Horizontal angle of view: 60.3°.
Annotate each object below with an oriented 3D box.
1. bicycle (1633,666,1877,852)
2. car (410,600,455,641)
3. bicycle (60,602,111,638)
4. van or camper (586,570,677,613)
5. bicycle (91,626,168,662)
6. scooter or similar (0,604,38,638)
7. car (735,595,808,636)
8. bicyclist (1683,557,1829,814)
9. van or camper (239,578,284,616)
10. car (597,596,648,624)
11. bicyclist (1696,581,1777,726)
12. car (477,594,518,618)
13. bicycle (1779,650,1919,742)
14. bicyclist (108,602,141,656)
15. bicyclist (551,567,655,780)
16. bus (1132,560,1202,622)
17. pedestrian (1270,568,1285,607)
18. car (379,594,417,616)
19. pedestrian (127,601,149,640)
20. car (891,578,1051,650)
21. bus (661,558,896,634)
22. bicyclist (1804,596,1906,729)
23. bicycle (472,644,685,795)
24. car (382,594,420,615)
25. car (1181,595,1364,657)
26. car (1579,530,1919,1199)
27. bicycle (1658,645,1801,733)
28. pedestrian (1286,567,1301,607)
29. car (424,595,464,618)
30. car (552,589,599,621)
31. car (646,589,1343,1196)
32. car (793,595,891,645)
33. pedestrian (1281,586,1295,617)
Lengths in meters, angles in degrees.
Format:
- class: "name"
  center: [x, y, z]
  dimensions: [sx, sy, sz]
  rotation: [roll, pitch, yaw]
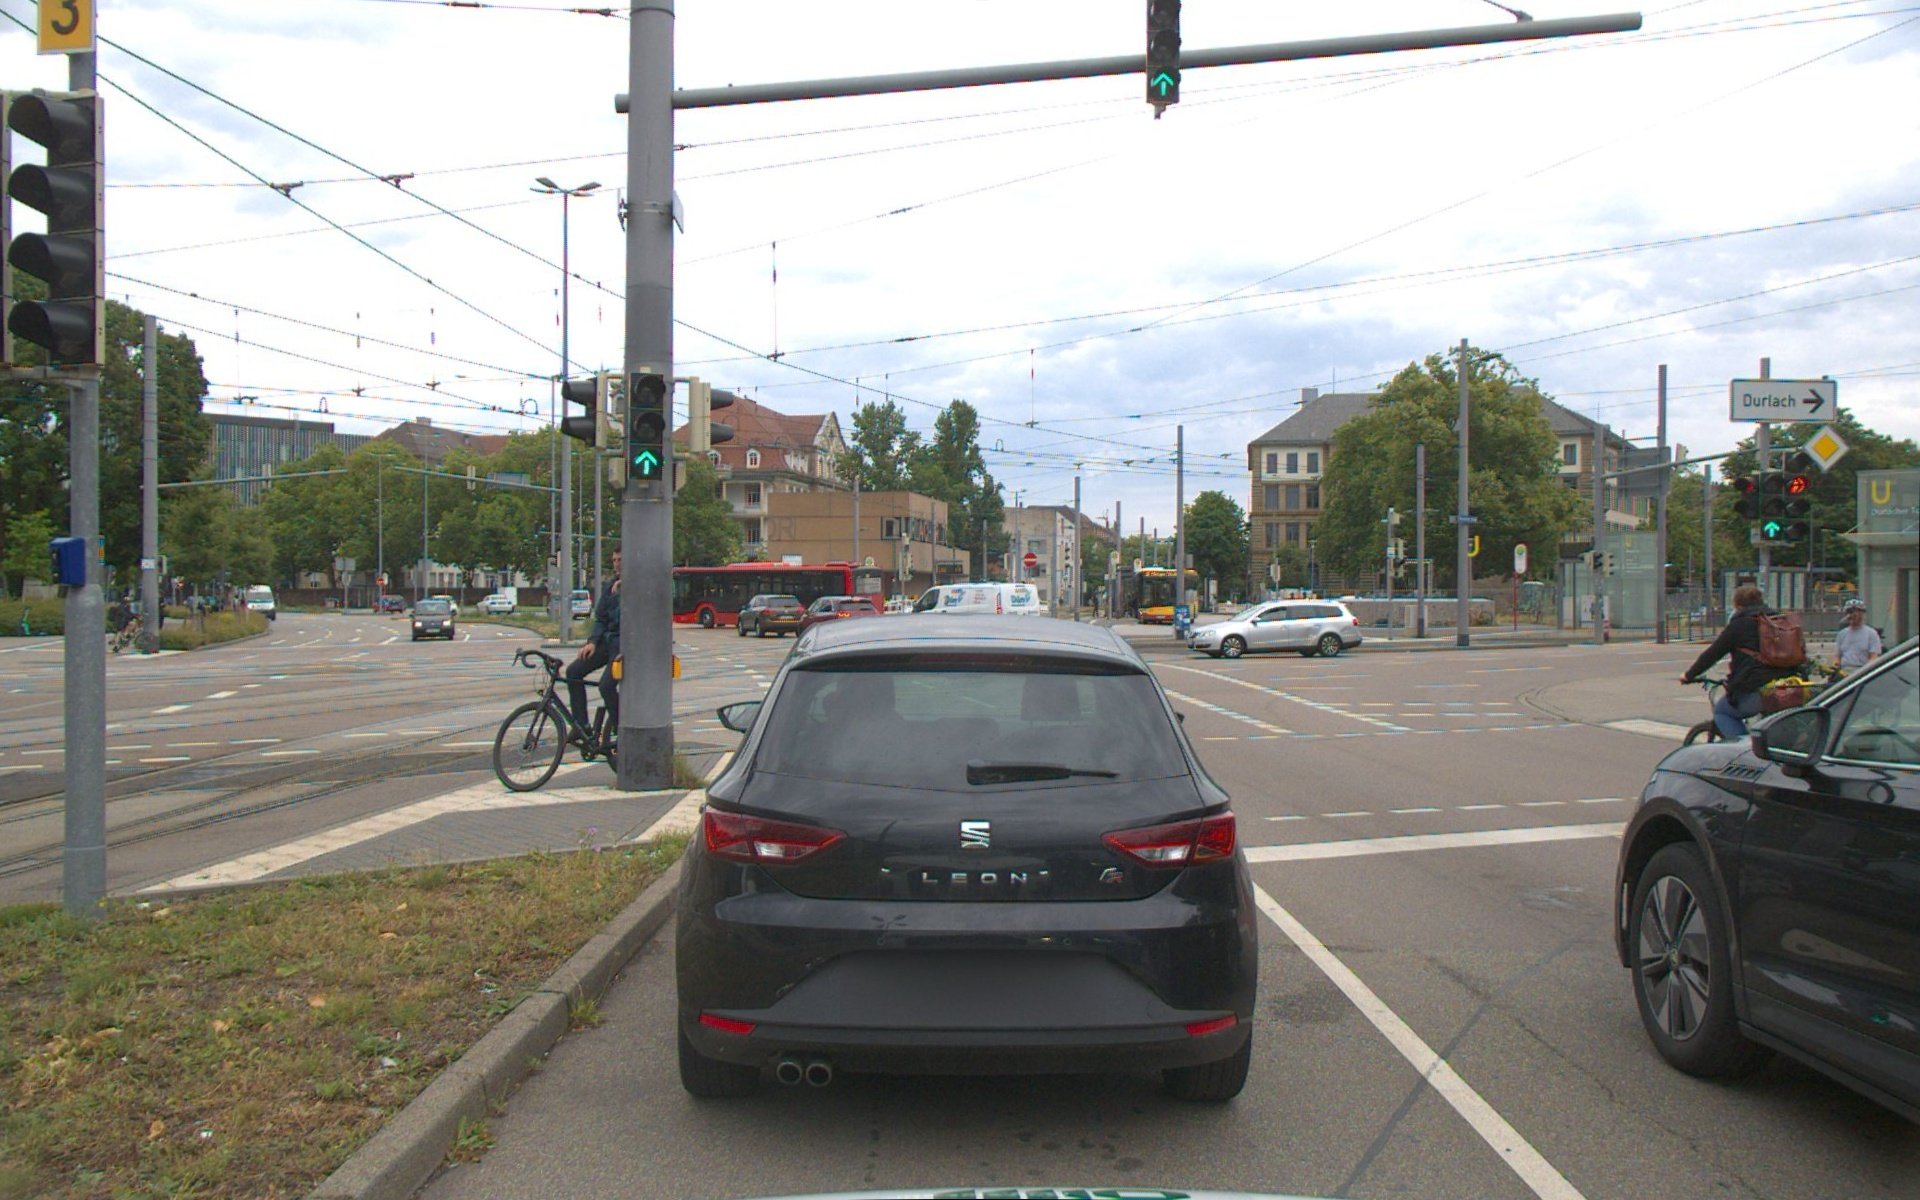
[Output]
- class: "bicycle"
  center: [5.511, 1.058, 11.630]
  dimensions: [0.612, 1.073, 2.125]
  rotation: [0, 1, -3]
- class: "car"
  center: [-20.915, 0.777, 65.538]
  dimensions: [1.594, 1.542, 3.644]
  rotation: [-1, 1, -19]
- class: "bicycle"
  center: [-36.999, 0.848, 69.974]
  dimensions: [0.829, 1.474, 2.255]
  rotation: [0, 0, 4]
- class: "van or camper"
  center: [-27.350, -0.724, 137.890]
  dimensions: [2.828, 3.390, 7.102]
  rotation: [-2, -1, 44]
- class: "bicycle"
  center: [-26.862, 1.433, 53.532]
  dimensions: [2.080, 1.046, 0.791]
  rotation: [3, -4, -19]
- class: "scooter or similar"
  center: [-38.486, 0.851, 67.205]
  dimensions: [1.753, 1.325, 0.623]
  rotation: [-1, 0, -33]
- class: "car"
  center: [-7.654, 0.587, 66.847]
  dimensions: [1.965, 1.593, 4.178]
  rotation: [0, 0, -21]
- class: "bicyclist"
  center: [5.516, 0.565, 11.492]
  dimensions: [0.603, 1.720, 0.805]
  rotation: [0, 0, -3]
- class: "van or camper"
  center: [-49.697, -0.190, 117.594]
  dimensions: [2.256, 2.571, 5.516]
  rotation: [-1, 1, -30]
- class: "car"
  center: [-19.196, 0.558, 93.919]
  dimensions: [1.969, 1.566, 3.968]
  rotation: [0, 0, -25]
- class: "bicyclist"
  center: [9.859, 0.660, 21.001]
  dimensions: [0.724, 1.782, 0.581]
  rotation: [-2, 1, -27]
- class: "car"
  center: [-34.433, 0.416, 123.119]
  dimensions: [1.973, 1.780, 3.958]
  rotation: [0, 0, -31]
- class: "bicycle"
  center: [10.715, 1.129, 19.711]
  dimensions: [1.912, 1.016, 0.598]
  rotation: [0, 0, -22]
- class: "bicyclist"
  center: [-27.031, 0.937, 53.505]
  dimensions: [0.800, 1.685, 0.789]
  rotation: [-3, -3, -19]
- class: "bicyclist"
  center: [-2.873, 0.573, 13.319]
  dimensions: [0.649, 1.668, 0.510]
  rotation: [0, 0, -40]
- class: "bus"
  center: [11.947, -0.498, 94.438]
  dimensions: [2.952, 3.325, 13.054]
  rotation: [0, 0, 12]
- class: "pedestrian"
  center: [35.185, -1.382, 183.382]
  dimensions: [1.358, 4.328, 1.346]
  rotation: [0, 0, 0]
- class: "car"
  center: [-46.594, 0.389, 137.012]
  dimensions: [1.977, 1.803, 3.951]
  rotation: [0, 0, -35]
- class: "pedestrian"
  center: [-37.291, 0.924, 75.070]
  dimensions: [0.734, 1.764, 0.683]
  rotation: [-1, 0, -15]
- class: "car"
  center: [0.272, 0.391, 49.295]
  dimensions: [1.983, 2.054, 4.954]
  rotation: [0, 0, -42]
- class: "bus"
  center: [-8.796, -0.167, 78.642]
  dimensions: [12.126, 3.355, 3.058]
  rotation: [0, 0, 35]
- class: "bicyclist"
  center: [10.648, 0.727, 19.682]
  dimensions: [0.871, 1.548, 0.668]
  rotation: [0, 0, -21]
- class: "bicycle"
  center: [-3.019, 0.919, 13.192]
  dimensions: [1.599, 1.088, 0.520]
  rotation: [-1, 0, -41]
- class: "car"
  center: [-49.169, 0.380, 145.386]
  dimensions: [1.980, 1.780, 3.946]
  rotation: [0, 0, -38]
- class: "car"
  center: [8.355, 0.669, 44.351]
  dimensions: [4.528, 1.508, 1.722]
  rotation: [-1, 1, -9]
- class: "car"
  center: [3.317, 0.665, 3.913]
  dimensions: [1.865, 1.687, 4.512]
  rotation: [0, 0, -2]
- class: "bicycle"
  center: [9.743, 1.106, 20.933]
  dimensions: [1.963, 1.016, 0.574]
  rotation: [-1, 0, -28]
- class: "pedestrian"
  center: [36.904, -1.437, 183.064]
  dimensions: [1.280, 4.328, 1.346]
  rotation: [0, 0, 0]
- class: "car"
  center: [-38.954, 0.478, 124.757]
  dimensions: [1.975, 1.668, 3.955]
  rotation: [0, 0, -32]
- class: "car"
  center: [-24.771, 0.303, 106.511]
  dimensions: [1.971, 2.049, 3.963]
  rotation: [0, 0, -28]
- class: "car"
  center: [0.060, 0.720, 6.088]
  dimensions: [1.710, 1.489, 3.999]
  rotation: [1, 0, -1]
- class: "car"
  center: [-4.076, 0.656, 56.451]
  dimensions: [1.837, 1.628, 4.166]
  rotation: [0, 0, -28]
- class: "pedestrian"
  center: [20.221, 0.070, 101.983]
  dimensions: [0.806, 1.886, 1.022]
  rotation: [0, 0, 15]
